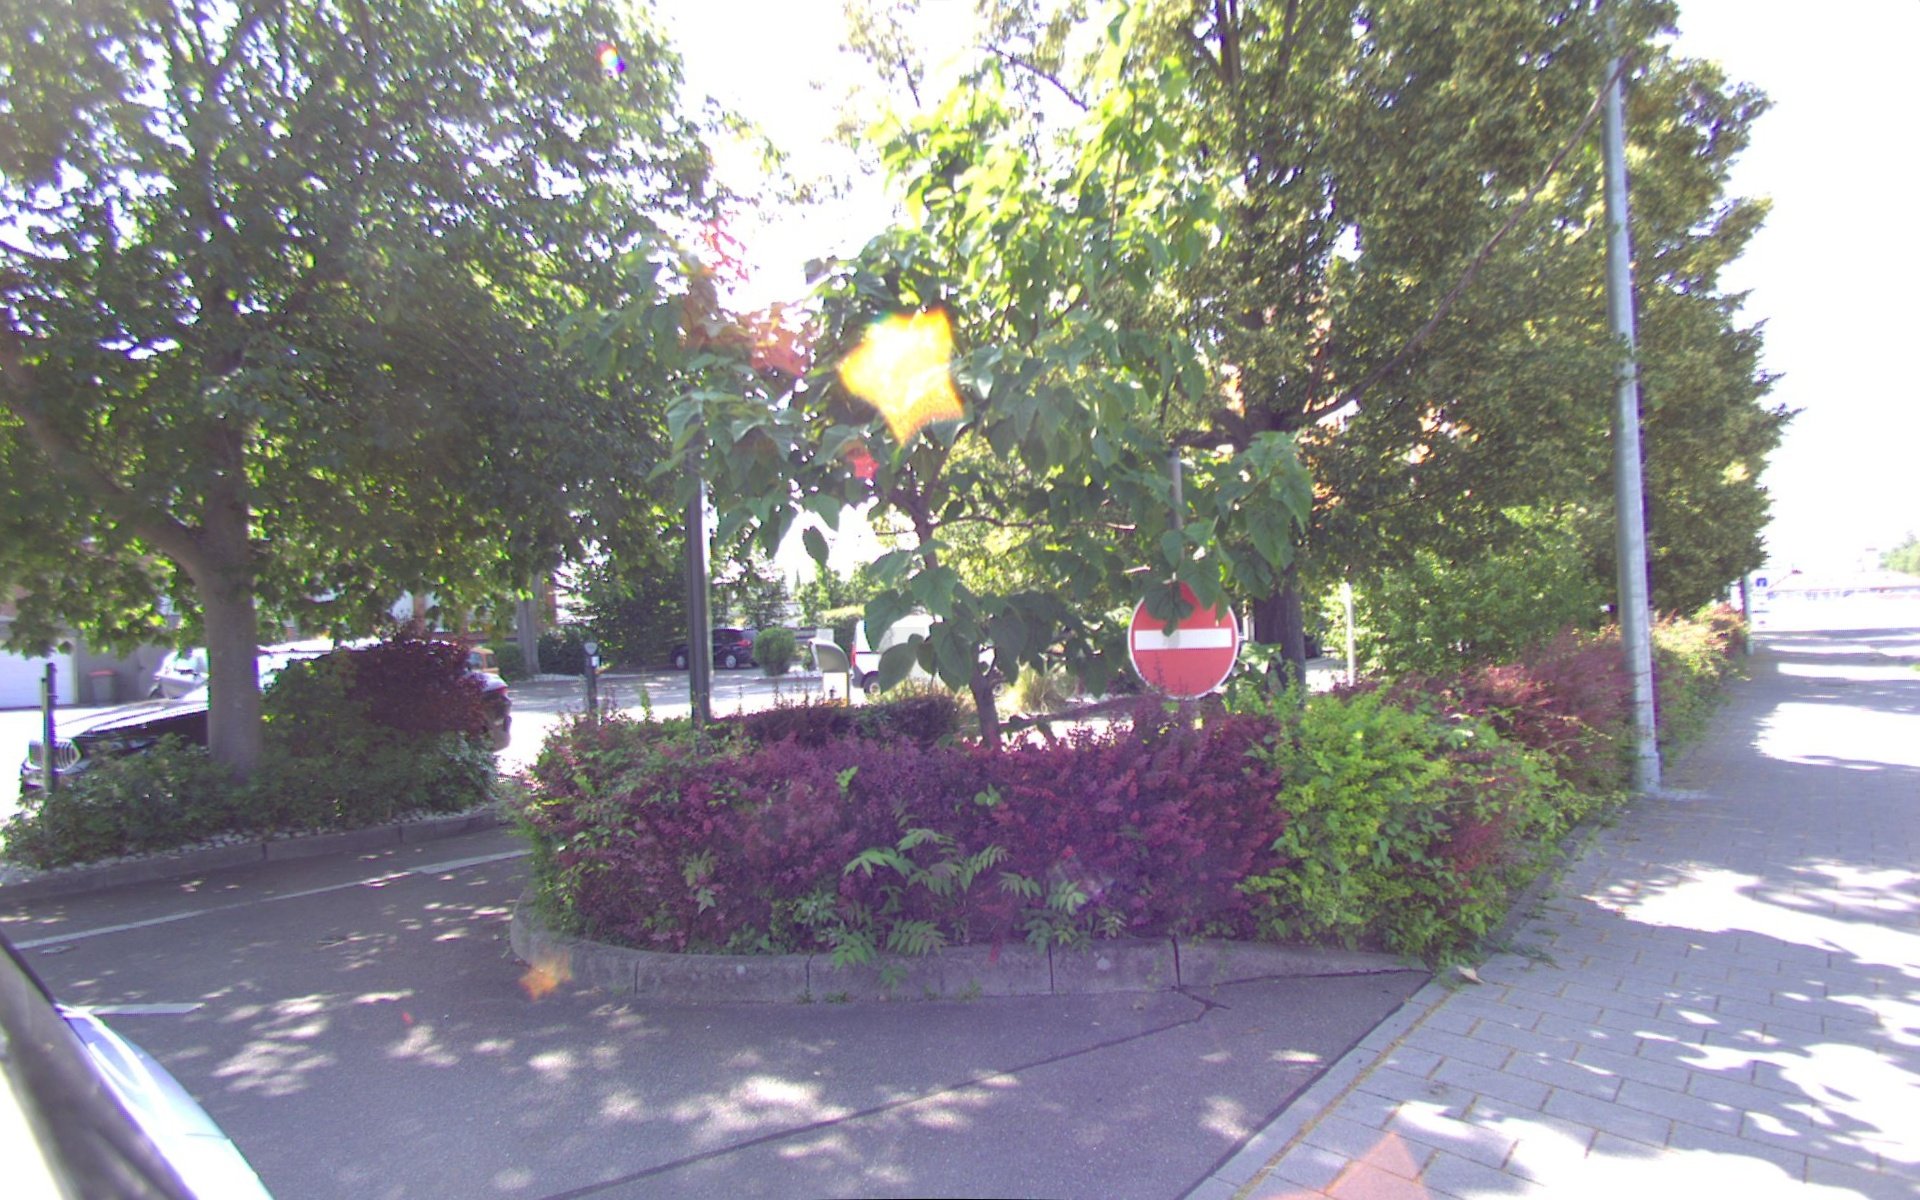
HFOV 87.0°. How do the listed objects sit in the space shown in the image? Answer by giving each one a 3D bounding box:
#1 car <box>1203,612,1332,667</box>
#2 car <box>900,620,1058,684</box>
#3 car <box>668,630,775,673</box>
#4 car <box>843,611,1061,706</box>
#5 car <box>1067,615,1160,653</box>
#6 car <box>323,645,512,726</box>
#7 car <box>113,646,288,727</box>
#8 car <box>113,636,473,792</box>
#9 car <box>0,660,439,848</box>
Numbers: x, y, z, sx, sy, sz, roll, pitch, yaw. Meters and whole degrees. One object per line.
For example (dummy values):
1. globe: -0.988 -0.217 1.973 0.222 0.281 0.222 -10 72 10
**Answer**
1. car: 9.848 1.233 32.153 2.073 1.572 4.962 -4 -3 40
2. car: 0.518 1.373 27.007 3.787 1.595 1.890 -2 -1 24
3. car: -9.330 2.015 39.629 3.851 1.588 1.802 -2 -1 28
4. car: -0.169 1.264 21.751 4.323 1.841 1.736 -3 -1 22
5. car: 6.963 1.548 45.967 3.828 1.600 1.629 -2 -1 26
6. car: -12.764 1.965 24.038 1.660 1.644 3.690 -2 -1 27
7. car: -16.130 1.789 21.483 3.595 1.543 1.606 -2 -1 28
8. car: -9.341 1.491 14.633 1.745 1.812 4.203 -2 -1 18
9. car: -7.937 1.503 11.088 1.642 1.505 3.976 -2 -2 18
